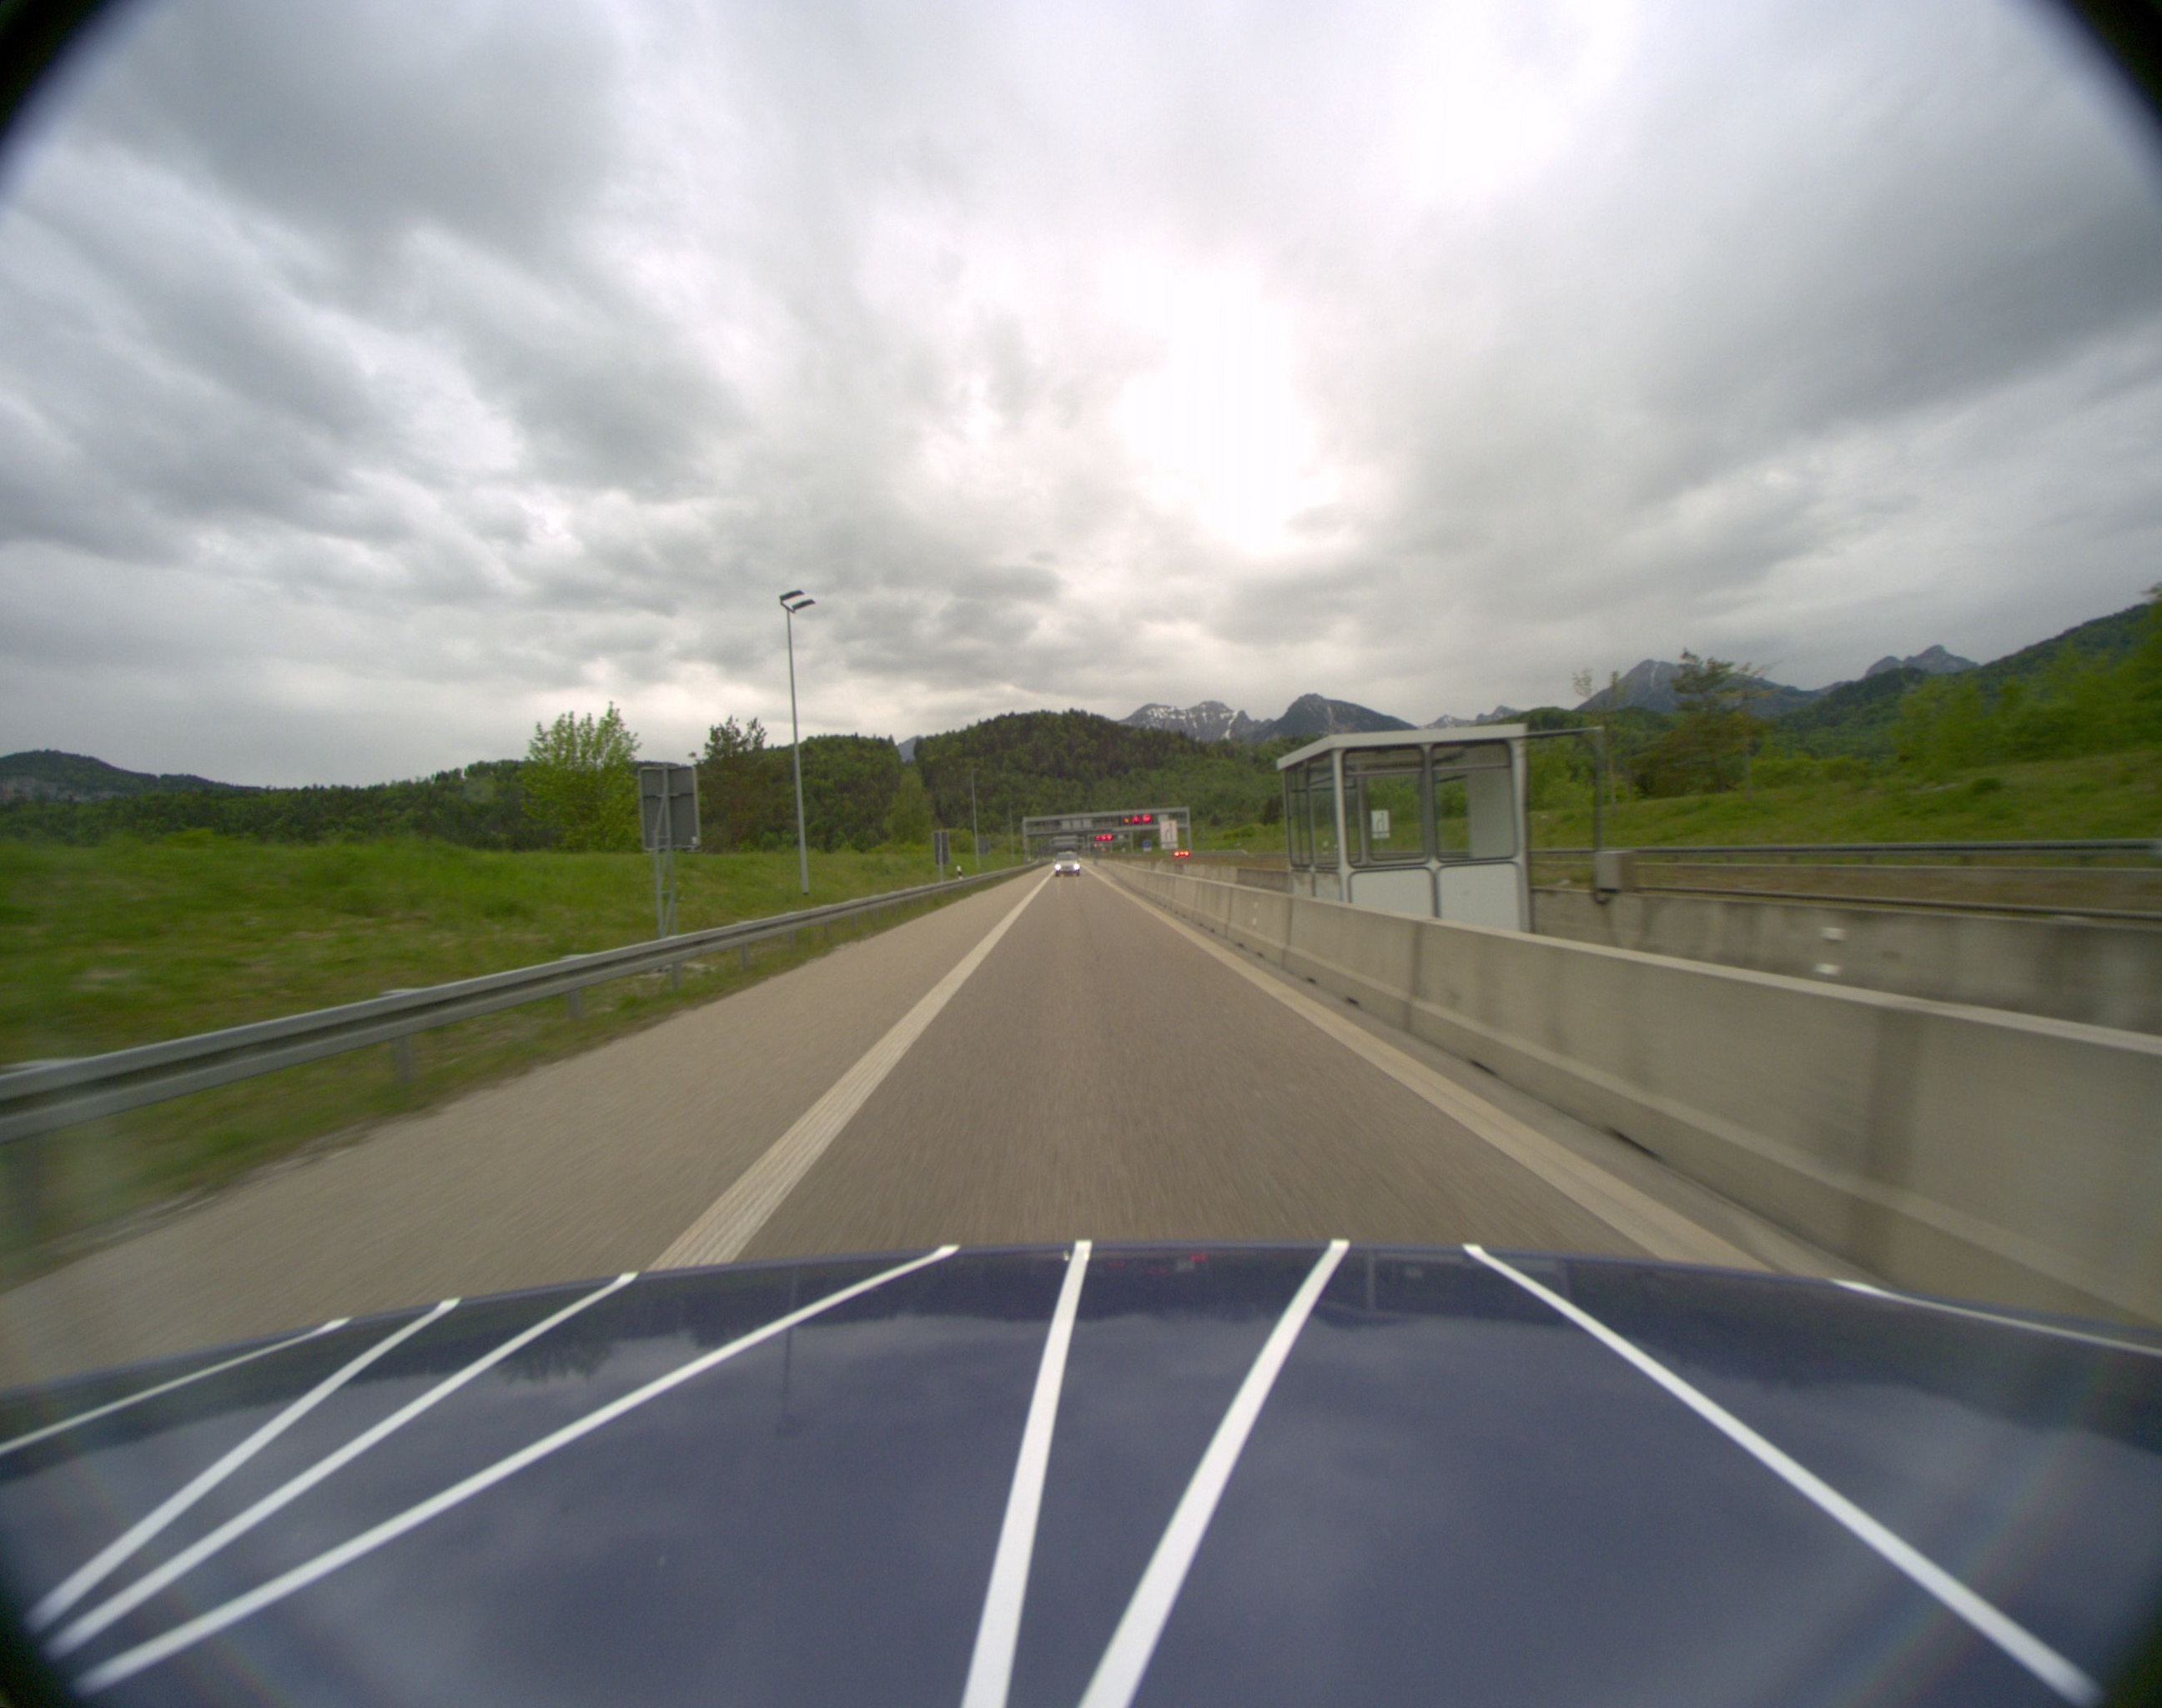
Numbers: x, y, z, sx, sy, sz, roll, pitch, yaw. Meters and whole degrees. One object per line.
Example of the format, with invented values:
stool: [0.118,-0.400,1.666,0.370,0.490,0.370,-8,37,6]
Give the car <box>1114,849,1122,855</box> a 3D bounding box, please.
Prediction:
car: [11.011,-0.605,227.054,1.883,1.726,5.750,-3,0,-1]

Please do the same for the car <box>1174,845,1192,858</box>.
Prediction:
car: [13.559,-0.362,101.483,1.706,1.565,4.176,-3,0,0]

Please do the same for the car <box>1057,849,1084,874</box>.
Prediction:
car: [-0.772,0.551,60.543,1.923,1.871,5.138,-1,1,1]

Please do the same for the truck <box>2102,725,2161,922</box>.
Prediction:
truck: [14.715,-0.424,7.036,2.363,2.465,5.987,-3,0,-1]
